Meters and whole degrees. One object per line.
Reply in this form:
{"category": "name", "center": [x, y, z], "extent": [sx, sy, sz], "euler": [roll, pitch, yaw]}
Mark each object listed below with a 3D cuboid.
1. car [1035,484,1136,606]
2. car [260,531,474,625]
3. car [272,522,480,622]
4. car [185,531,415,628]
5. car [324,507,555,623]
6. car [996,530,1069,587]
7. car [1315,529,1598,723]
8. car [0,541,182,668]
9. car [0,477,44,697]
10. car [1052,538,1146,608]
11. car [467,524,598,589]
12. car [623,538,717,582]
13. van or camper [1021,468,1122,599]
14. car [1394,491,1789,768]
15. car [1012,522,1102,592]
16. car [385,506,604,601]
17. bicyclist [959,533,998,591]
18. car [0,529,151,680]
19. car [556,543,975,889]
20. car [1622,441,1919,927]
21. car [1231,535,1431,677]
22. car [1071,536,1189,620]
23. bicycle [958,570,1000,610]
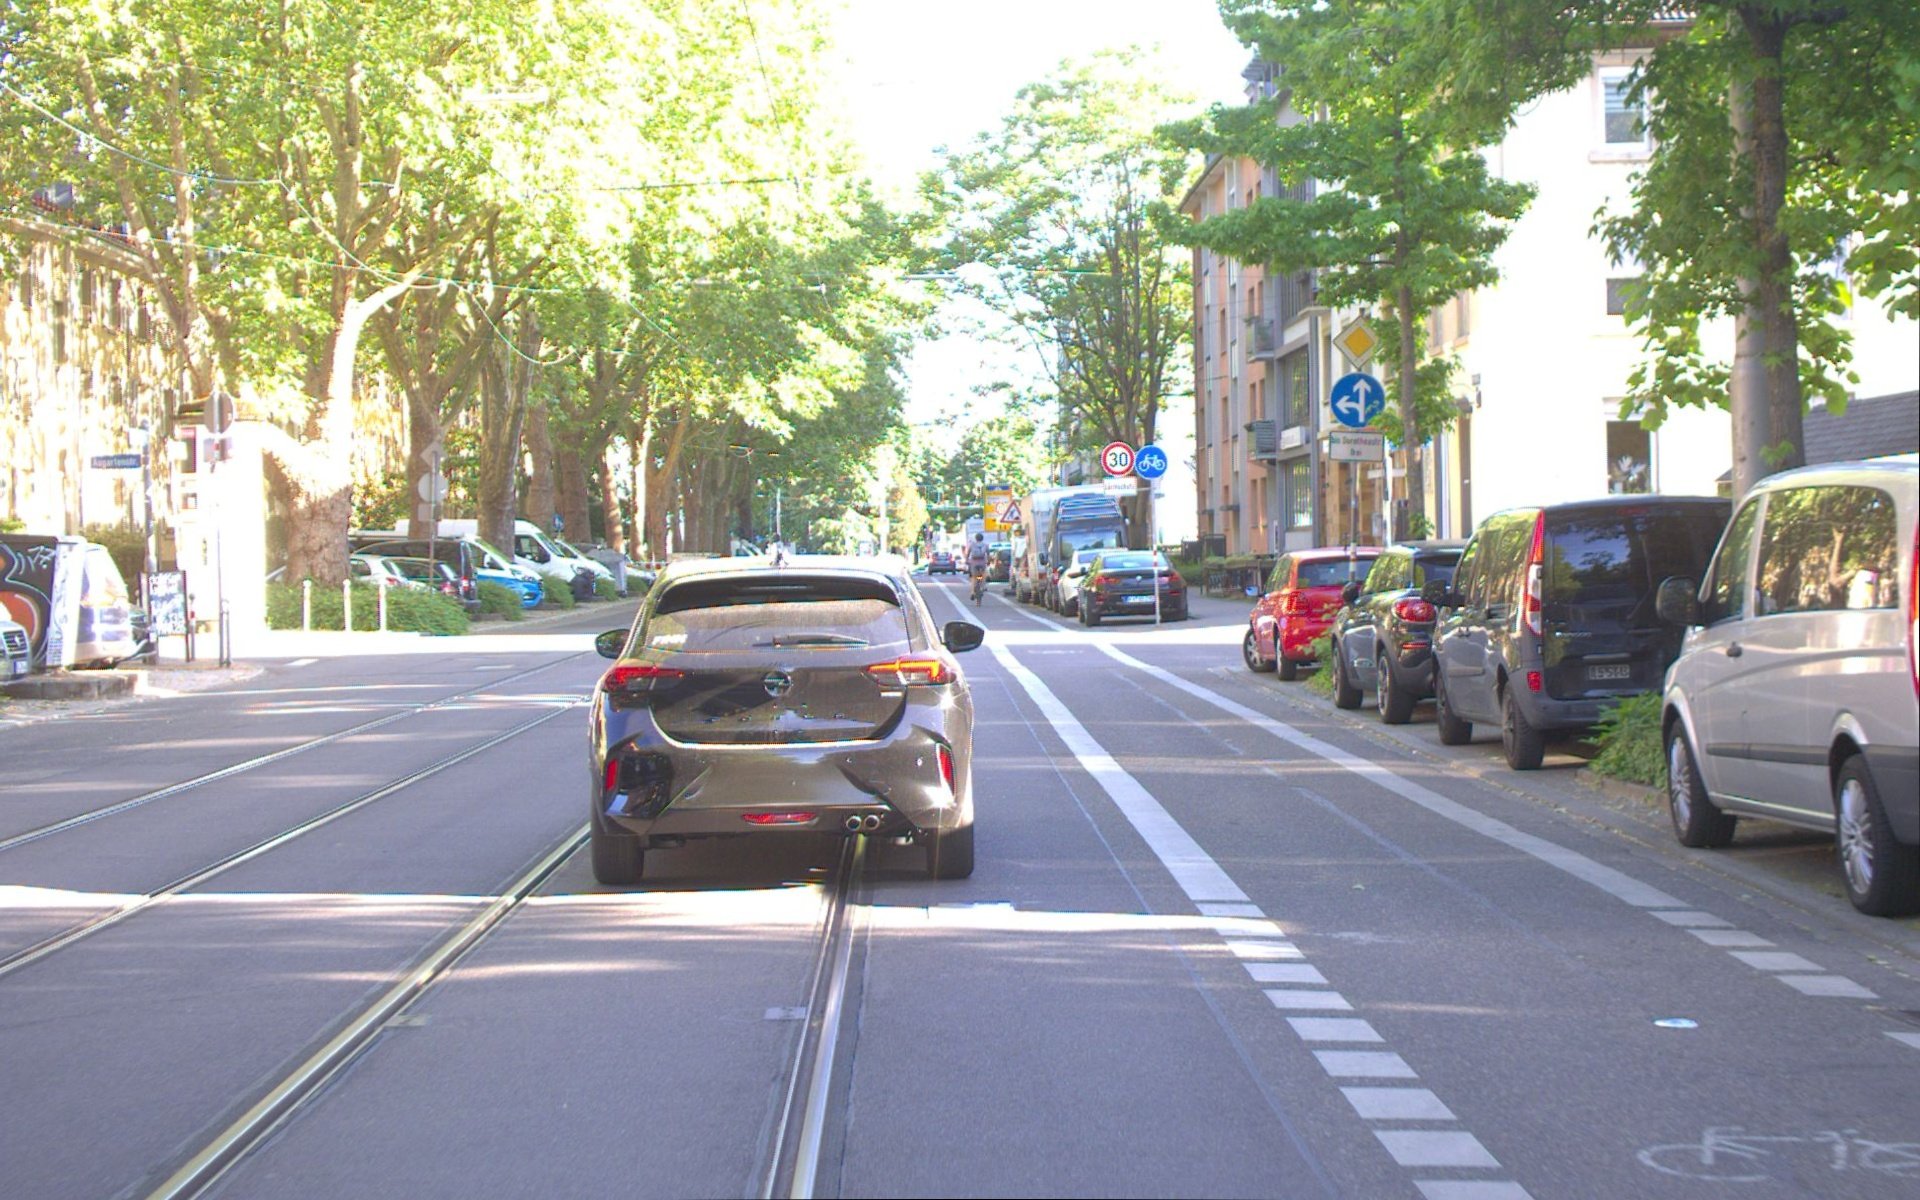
{"category": "car", "center": [2.974, -1.340, 82.526], "extent": [2.085, 2.762, 4.698], "euler": [-2, 1, -1]}
{"category": "car", "center": [-12.528, -0.467, 72.836], "extent": [4.299, 1.669, 1.783], "euler": [-4, 1, -8]}
{"category": "car", "center": [-12.728, -0.612, 75.163], "extent": [4.299, 1.834, 1.783], "euler": [-4, 1, -8]}
{"category": "car", "center": [-13.074, -0.406, 68.283], "extent": [4.299, 1.588, 1.783], "euler": [-4, 1, -8]}
{"category": "car", "center": [-12.365, -0.847, 81.859], "extent": [5.036, 2.366, 2.081], "euler": [-4, 1, 0]}
{"category": "car", "center": [2.463, -1.429, 117.661], "extent": [2.254, 1.834, 5.531], "euler": [-2, 1, -1]}
{"category": "car", "center": [4.306, 0.188, 30.376], "extent": [1.712, 1.509, 4.037], "euler": [-3, 1, -2]}
{"category": "car", "center": [-12.430, 0.041, 44.574], "extent": [4.299, 1.601, 1.926], "euler": [0, 1, -3]}
{"category": "car", "center": [-12.345, -0.148, 35.967], "extent": [5.032, 2.251, 2.086], "euler": [0, 1, -4]}
{"category": "car", "center": [3.027, -0.569, 75.332], "extent": [1.803, 1.429, 4.000], "euler": [-2, 0, -1]}
{"category": "car", "center": [-13.401, -1.363, 107.611], "extent": [3.986, 2.007, 2.001], "euler": [0, 1, -9]}
{"category": "car", "center": [-13.276, -1.844, 157.333], "extent": [3.988, 2.007, 2.000], "euler": [0, 1, 6]}
{"category": "van or camper", "center": [2.859, -1.715, 89.086], "extent": [2.254, 3.205, 5.531], "euler": [-2, 1, -1]}
{"category": "car", "center": [4.403, 0.156, 24.697], "extent": [1.885, 1.760, 4.678], "euler": [-1, 1, -1]}
{"category": "car", "center": [2.679, -1.211, 96.293], "extent": [2.254, 1.834, 5.531], "euler": [-2, 1, -1]}
{"category": "car", "center": [-12.770, -1.282, 94.569], "extent": [5.639, 2.584, 2.196], "euler": [0, 1, 3]}
{"category": "bicyclist", "center": [0.481, -0.993, 88.902], "extent": [0.958, 1.494, 1.094], "euler": [0, 1, -2]}
{"category": "car", "center": [-12.223, 0.041, 41.941], "extent": [4.299, 1.795, 1.926], "euler": [0, 1, -3]}
{"category": "car", "center": [-0.837, 0.459, 16.443], "extent": [1.763, 1.455, 3.950], "euler": [0, 1, -1]}
{"category": "car", "center": [4.496, 0.231, 15.553], "extent": [1.884, 1.845, 4.968], "euler": [-3, 1, -1]}
{"category": "car", "center": [4.170, 0.037, 39.136], "extent": [1.702, 1.418, 3.979], "euler": [-4, 1, -1]}
{"category": "car", "center": [3.186, -0.432, 65.238], "extent": [1.884, 1.429, 4.530], "euler": [-3, 1, -1]}
{"category": "bicycle", "center": [0.490, -0.261, 88.949], "extent": [0.968, 0.995, 2.583], "euler": [0, 1, -2]}
